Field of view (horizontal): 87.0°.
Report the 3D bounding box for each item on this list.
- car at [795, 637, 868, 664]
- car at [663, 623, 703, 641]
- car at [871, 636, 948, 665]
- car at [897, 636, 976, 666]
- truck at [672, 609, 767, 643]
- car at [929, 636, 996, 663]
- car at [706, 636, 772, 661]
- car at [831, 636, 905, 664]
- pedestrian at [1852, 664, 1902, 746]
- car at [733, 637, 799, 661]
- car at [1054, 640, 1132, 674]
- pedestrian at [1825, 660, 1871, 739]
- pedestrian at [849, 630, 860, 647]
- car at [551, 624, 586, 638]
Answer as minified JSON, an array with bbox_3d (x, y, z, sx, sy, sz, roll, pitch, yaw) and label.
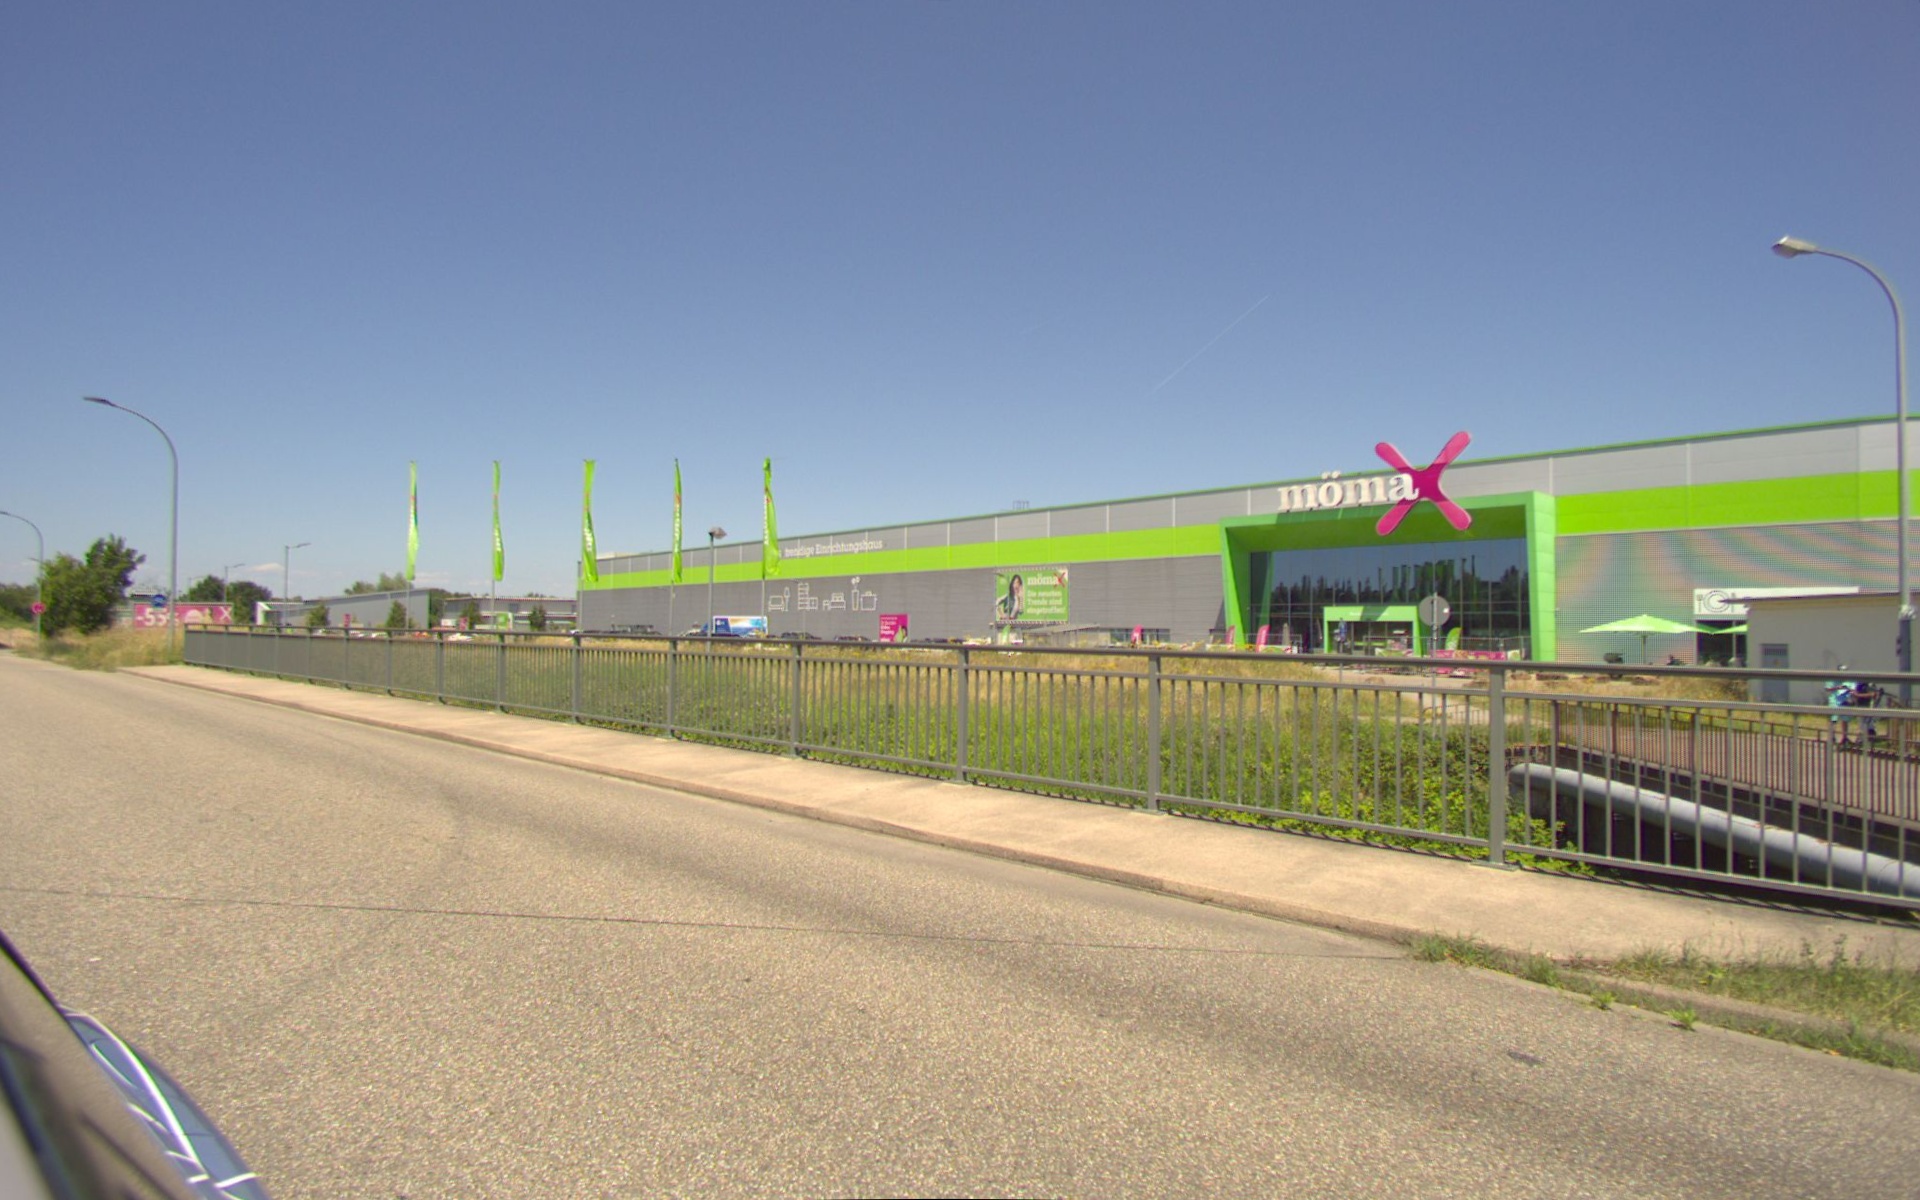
[{"bbox_3d":[-7.676,2.982,60.485,2.001,1.441,3.942,-2,-1,45],"label":"car"},{"bbox_3d":[-31.953,3.684,116.696,3.936,2.029,1.915,-1,-1,-38],"label":"car"},{"bbox_3d":[-2.807,2.791,56.450,2.001,1.420,3.942,-2,-1,45],"label":"car"},{"bbox_3d":[-1.243,2.710,54.079,2.001,1.427,3.942,-2,-1,45],"label":"car"},{"bbox_3d":[-20.404,2.208,86.265,7.651,2.704,2.968,-1,-2,-10],"label":"truck"},{"bbox_3d":[0.199,3.060,63.303,2.001,1.524,3.942,-2,-1,45],"label":"car"},{"bbox_3d":[-14.986,3.253,68.648,2.001,1.524,3.942,-2,-1,45],"label":"car"},{"bbox_3d":[-5.317,2.878,58.706,2.001,1.455,3.942,-2,-1,45],"label":"car"},{"bbox_3d":[19.912,2.273,21.990,0.594,1.686,0.624,0,1,21],"label":"pedestrian"},{"bbox_3d":[-12.824,3.224,66.972,1.847,1.448,3.942,-2,-1,45],"label":"car"},{"bbox_3d":[6.925,2.917,52.589,2.001,1.524,3.942,-2,-1,45],"label":"car"},{"bbox_3d":[19.883,2.220,22.662,0.624,1.686,0.511,0,1,20],"label":"pedestrian"},{"bbox_3d":[-9.237,3.378,88.754,0.766,1.463,0.630,-2,-1,42],"label":"pedestrian"},{"bbox_3d":[-53.416,4.203,138.185,3.940,1.752,2.002,-1,0,-43],"label":"car"}]
